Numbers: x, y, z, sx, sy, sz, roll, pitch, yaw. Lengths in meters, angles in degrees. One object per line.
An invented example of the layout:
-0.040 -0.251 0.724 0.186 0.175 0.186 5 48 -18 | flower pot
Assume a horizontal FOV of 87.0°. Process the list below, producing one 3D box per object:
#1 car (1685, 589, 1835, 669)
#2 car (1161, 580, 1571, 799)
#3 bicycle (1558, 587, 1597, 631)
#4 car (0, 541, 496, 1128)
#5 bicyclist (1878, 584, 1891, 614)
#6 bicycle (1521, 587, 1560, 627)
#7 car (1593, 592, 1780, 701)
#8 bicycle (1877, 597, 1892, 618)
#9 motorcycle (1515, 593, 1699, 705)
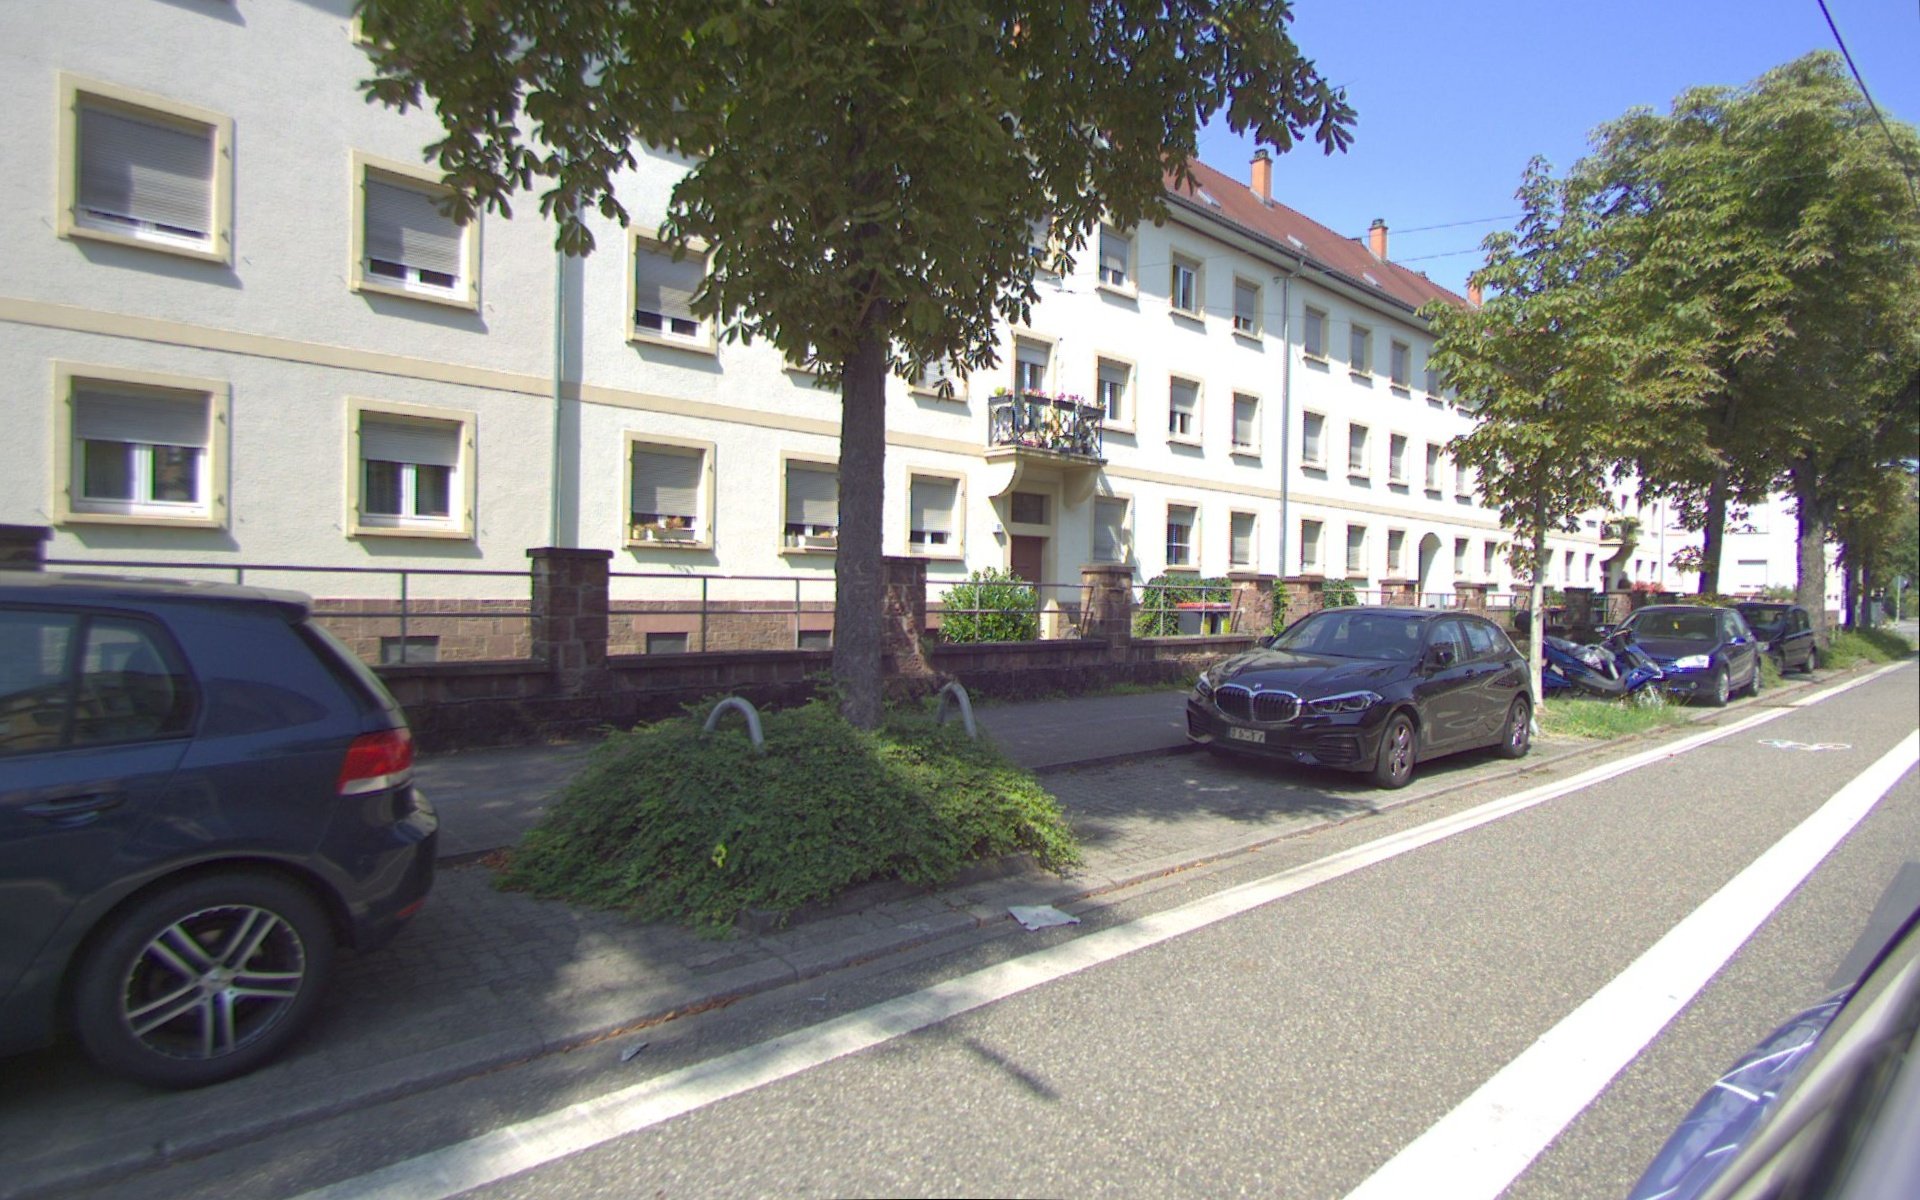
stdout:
17.490 0.578 22.099 3.432 1.549 1.623 0 2 -35 | car
3.989 0.629 9.563 4.381 1.494 1.759 -1 5 -42 | car
17.135 0.243 28.071 1.688 1.175 0.468 0 1 -43 | bicycle
-3.727 0.576 2.571 4.312 1.495 1.758 0 1 -43 | car
48.307 -0.068 52.865 0.464 1.531 0.437 0 1 -44 | bicyclist
16.744 0.195 29.175 1.688 1.107 0.468 0 1 -43 | bicycle
11.930 0.667 16.519 3.969 1.495 1.620 0 3 -42 | car
48.237 0.363 52.800 1.799 1.060 0.440 0 1 -45 | bicycle
8.883 0.624 13.958 0.769 1.385 2.005 0 1 -44 | motorcycle
